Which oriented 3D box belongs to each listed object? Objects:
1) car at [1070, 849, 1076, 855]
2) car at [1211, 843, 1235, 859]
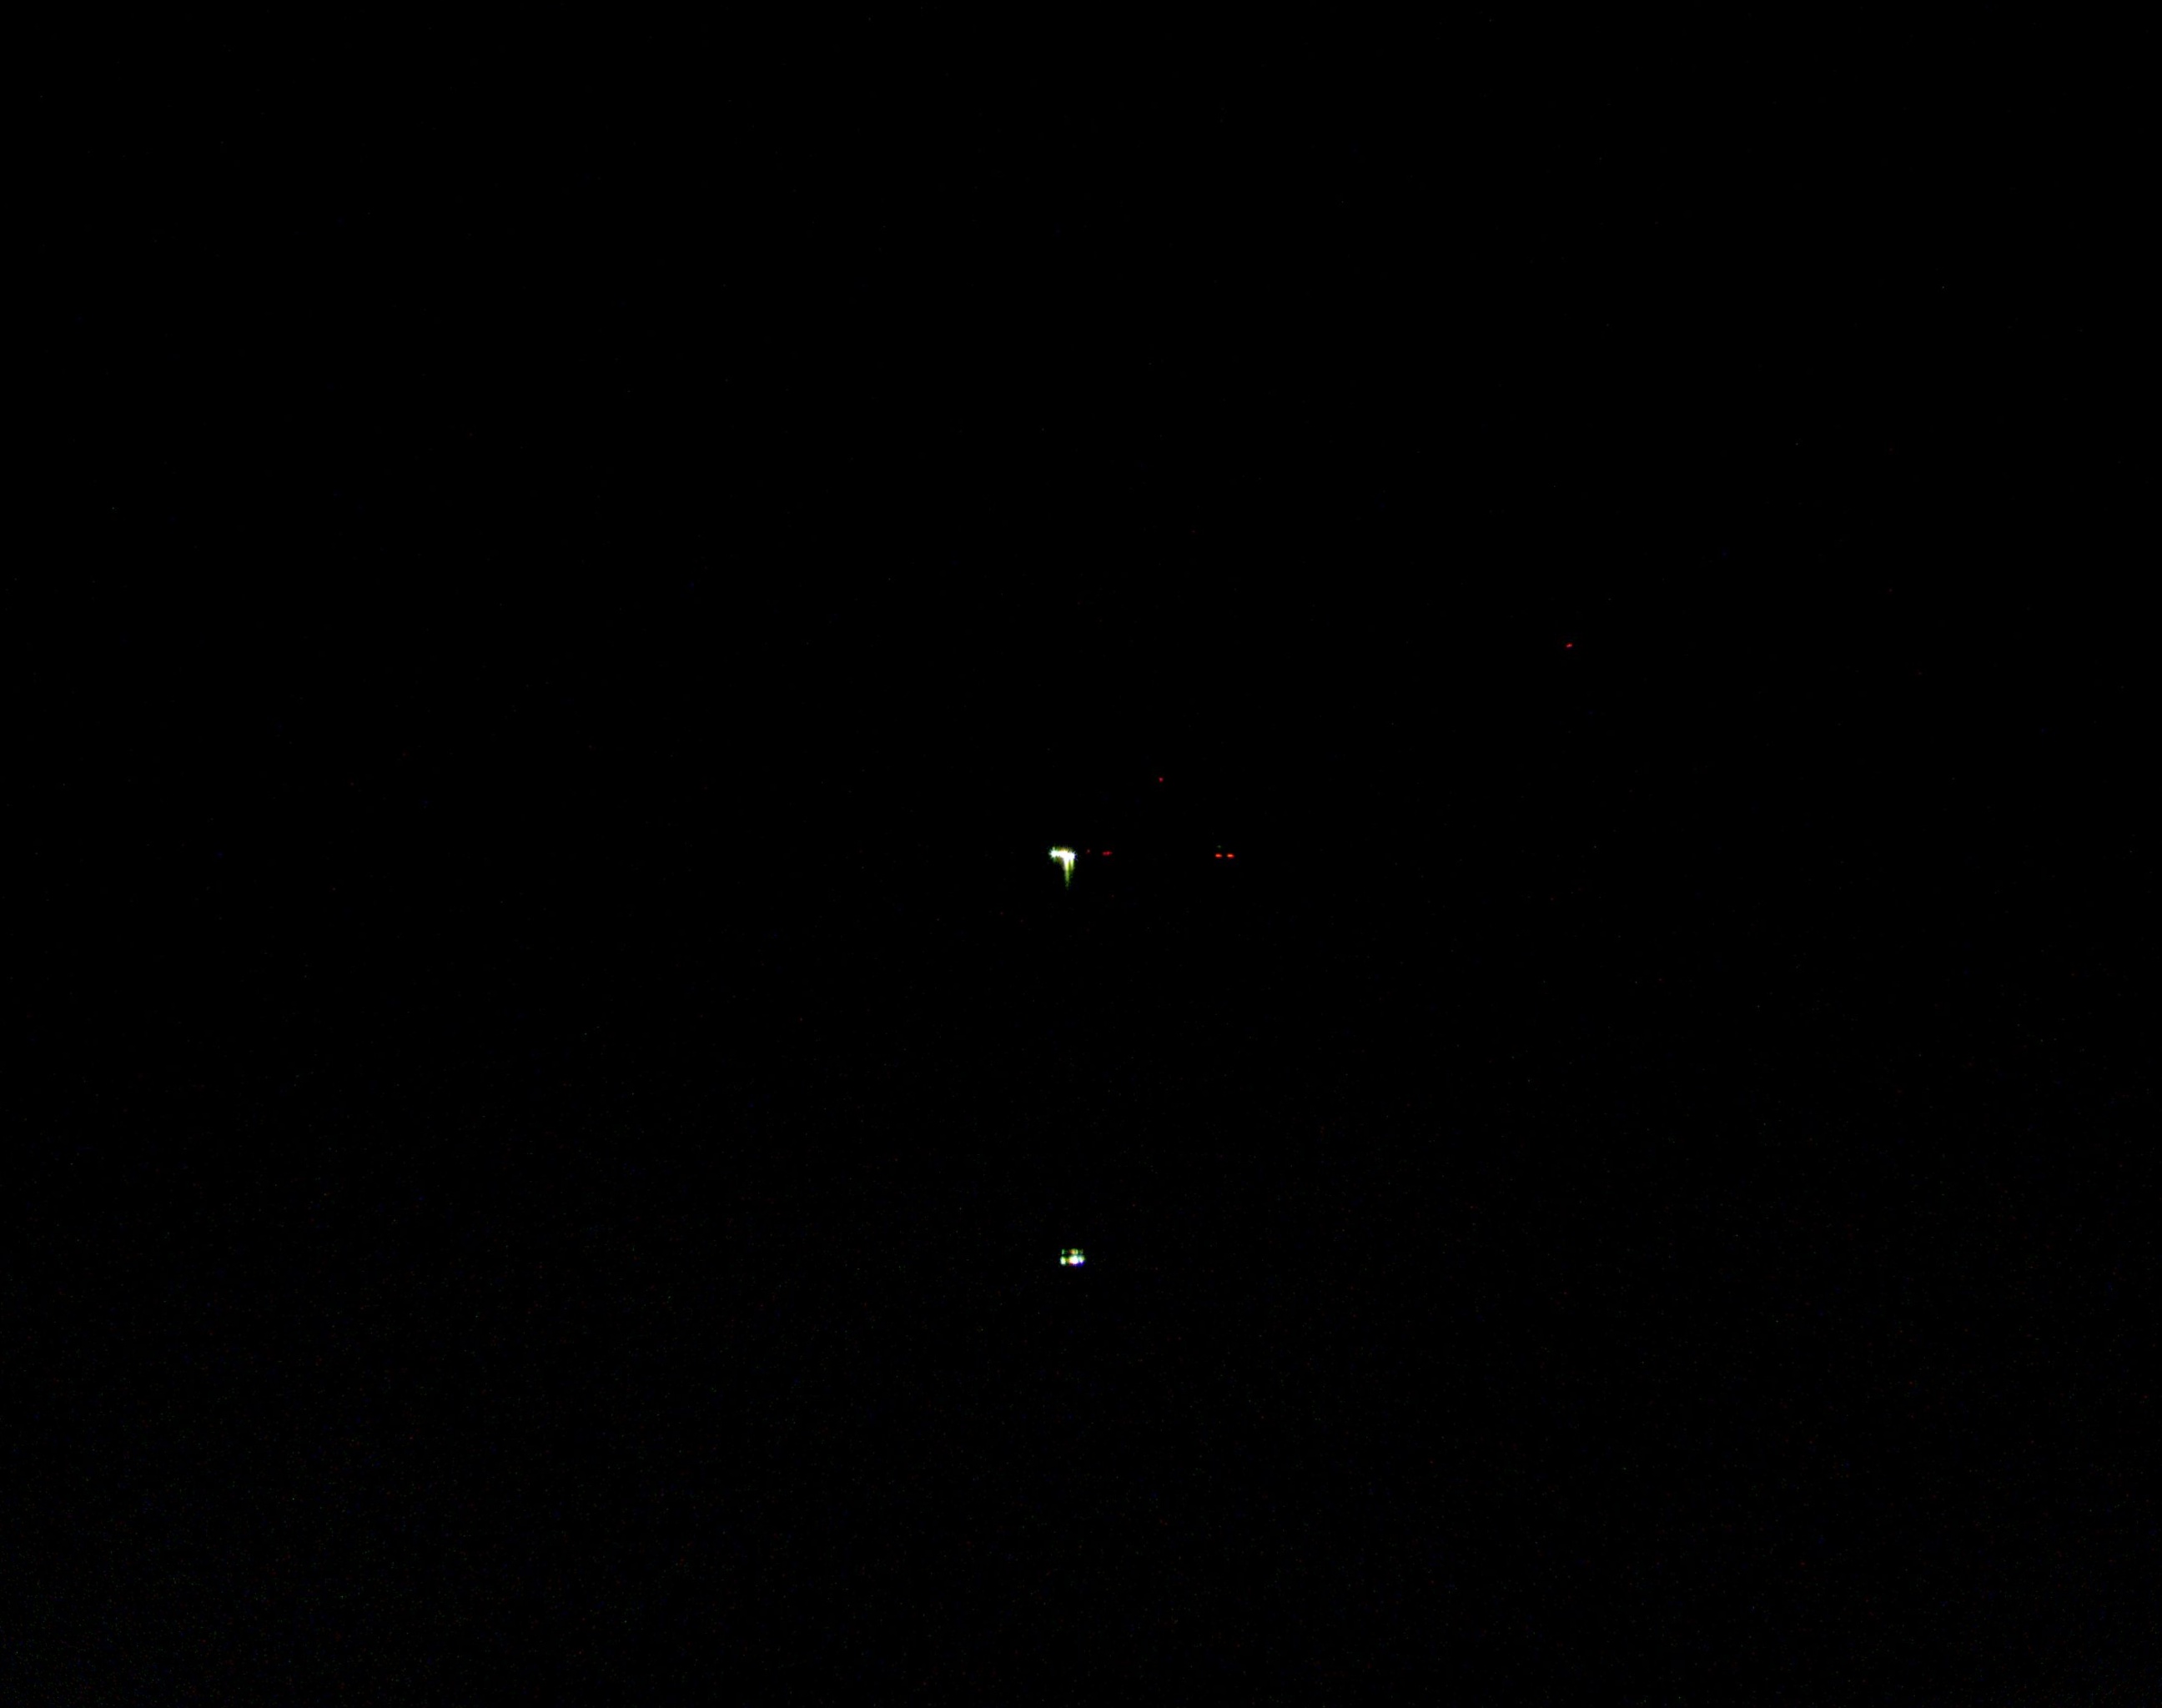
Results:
[{"bbox_3d":[-2.327,-0.694,218.035,1.860,1.608,3.999,-1,1,-1],"label":"car"},{"bbox_3d":[22.433,-0.499,120.461,2.397,2.438,6.669,-2,1,0],"label":"car"}]
